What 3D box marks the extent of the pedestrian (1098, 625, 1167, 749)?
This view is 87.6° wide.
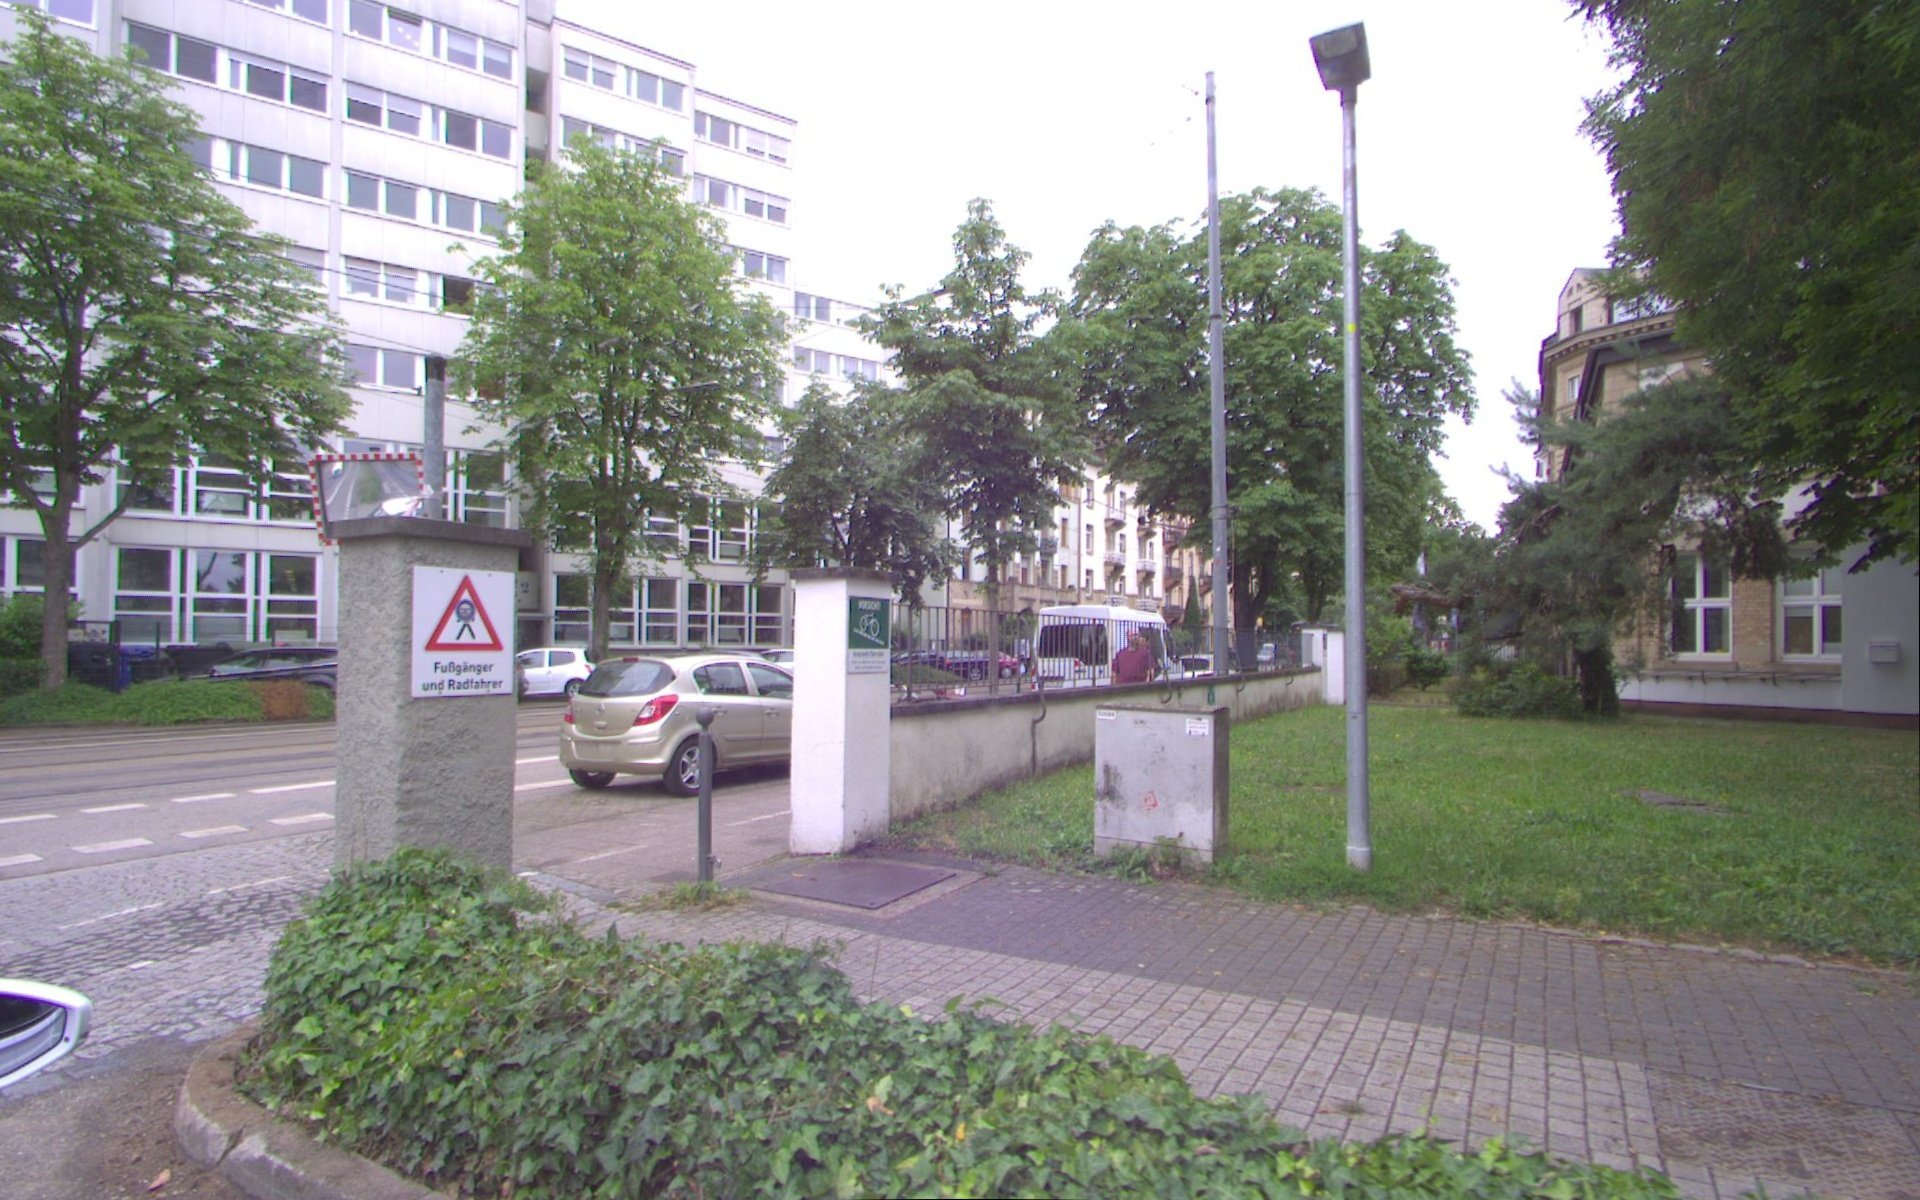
[{"bbox_3d":[2.538,1.255,14.714,0.795,1.740,0.953,0,-2,24],"label":"pedestrian"}]

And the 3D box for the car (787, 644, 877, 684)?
[{"bbox_3d":[-5.023,2.485,39.160,3.328,1.492,1.415,1,-2,-14],"label":"car"}]

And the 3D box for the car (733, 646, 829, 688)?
[{"bbox_3d":[-6.528,2.424,36.455,3.328,1.492,1.416,1,-2,-14],"label":"car"}]

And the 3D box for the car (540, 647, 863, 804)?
[{"bbox_3d":[-2.854,1.320,11.775,1.641,1.519,3.579,-1,-3,30],"label":"car"}]

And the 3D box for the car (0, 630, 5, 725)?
[{"bbox_3d":[-18.076,1.301,16.283,3.344,1.638,1.556,0,-2,-12],"label":"car"}]

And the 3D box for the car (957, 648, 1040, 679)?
[{"bbox_3d":[1.831,3.052,48.196,3.723,1.460,1.692,1,-2,-9],"label":"car"}]

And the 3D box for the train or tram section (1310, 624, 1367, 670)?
[{"bbox_3d":[32.527,3.938,85.708,2.628,3.660,12.406,-1,-2,30],"label":"train or tram section"}]

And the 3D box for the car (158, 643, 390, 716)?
[{"bbox_3d":[-14.999,1.701,22.124,3.885,1.492,1.671,1,-2,-18],"label":"car"}]

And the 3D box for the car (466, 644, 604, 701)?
[{"bbox_3d":[-11.713,1.967,27.765,3.328,1.492,1.415,0,-2,-14],"label":"car"}]

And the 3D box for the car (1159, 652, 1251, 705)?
[{"bbox_3d":[7.103,2.195,28.803,1.783,1.371,3.799,-1,-2,27],"label":"car"}]

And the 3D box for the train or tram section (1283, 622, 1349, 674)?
[{"bbox_3d":[27.452,3.617,76.781,2.628,3.660,12.406,-1,-2,30],"label":"train or tram section"}]

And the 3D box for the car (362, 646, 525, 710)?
[{"bbox_3d":[-12.743,1.900,24.867,3.328,1.492,1.415,0,-2,-14],"label":"car"}]

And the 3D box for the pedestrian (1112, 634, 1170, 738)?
[{"bbox_3d":[3.160,1.482,17.483,0.789,1.740,0.953,-1,-2,24],"label":"pedestrian"}]

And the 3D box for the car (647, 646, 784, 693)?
[{"bbox_3d":[-8.227,2.340,33.708,4.420,1.491,1.416,1,-4,-18],"label":"car"}]

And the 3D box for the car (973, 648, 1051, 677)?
[{"bbox_3d":[2.620,3.168,50.809,3.723,1.460,1.692,1,-2,-9],"label":"car"}]

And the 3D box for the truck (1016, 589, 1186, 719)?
[{"bbox_3d":[3.314,1.194,22.519,2.137,2.578,4.908,-1,-3,30],"label":"truck"}]
